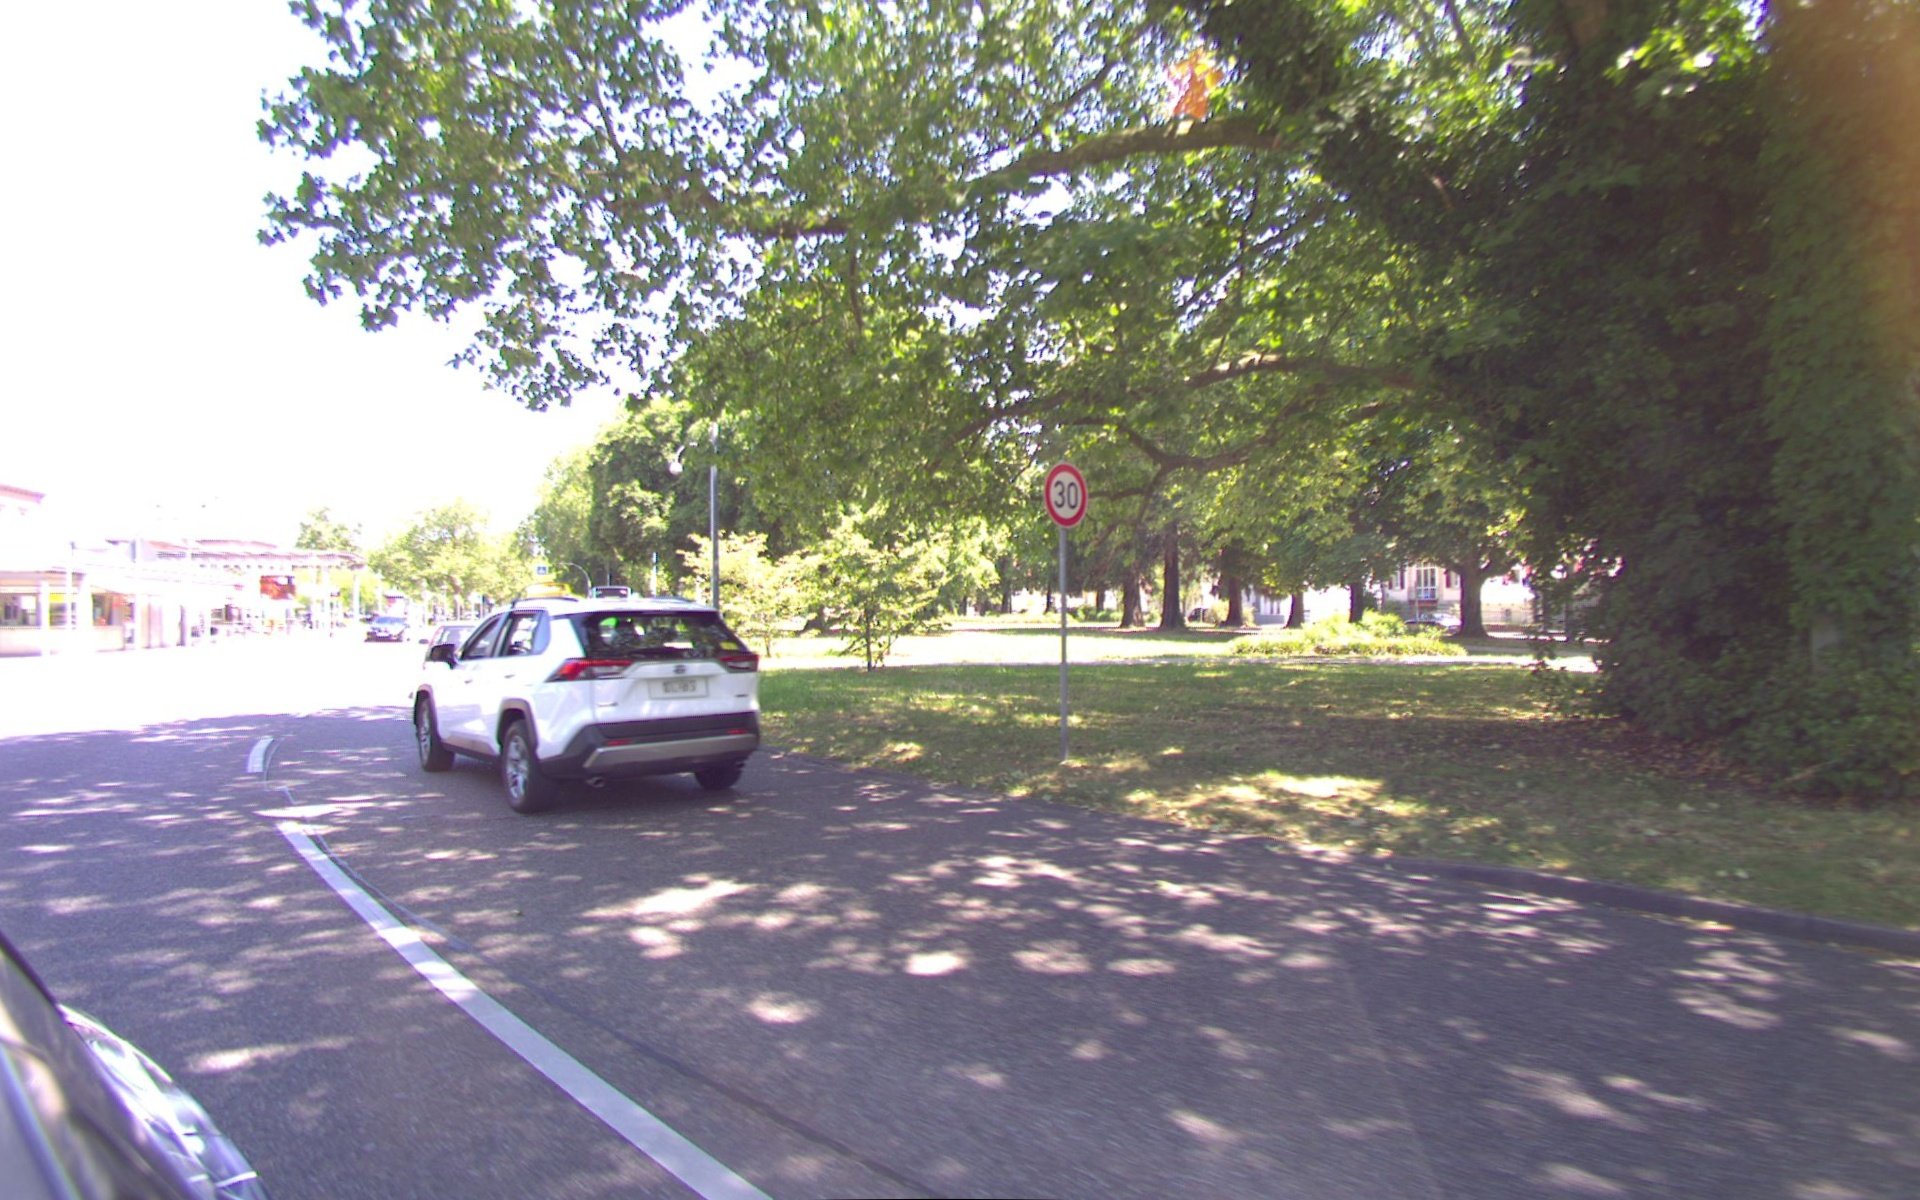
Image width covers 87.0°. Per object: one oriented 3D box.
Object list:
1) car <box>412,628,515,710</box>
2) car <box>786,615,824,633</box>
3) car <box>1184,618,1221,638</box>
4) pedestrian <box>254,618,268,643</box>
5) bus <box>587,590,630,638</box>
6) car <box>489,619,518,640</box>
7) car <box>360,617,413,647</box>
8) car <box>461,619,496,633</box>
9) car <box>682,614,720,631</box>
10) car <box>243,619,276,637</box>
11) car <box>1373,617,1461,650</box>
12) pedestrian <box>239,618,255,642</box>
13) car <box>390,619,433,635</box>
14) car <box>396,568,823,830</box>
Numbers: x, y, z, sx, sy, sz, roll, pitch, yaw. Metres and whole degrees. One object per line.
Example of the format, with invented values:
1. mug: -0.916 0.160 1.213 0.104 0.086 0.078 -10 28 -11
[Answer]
1. car: -9.711 1.273 19.798 1.617 1.428 4.013 1 -2 -27
2. car: -17.609 2.686 114.812 3.931 2.029 2.006 0 -1 -20
3. car: 21.970 2.523 91.725 1.969 1.792 4.006 -1 -1 -7
4. pedestrian: -35.965 1.557 52.086 0.495 1.241 0.515 0 -1 -26
5. bus: -26.922 1.068 77.275 2.767 3.328 11.895 0 -1 -21
6. car: -36.300 2.342 80.616 1.749 1.557 4.196 2 -1 -20
7. car: -31.265 1.738 55.269 1.749 1.557 4.196 2 -1 -20
8. car: -61.951 3.319 130.214 3.931 1.677 2.006 0 -1 -27
9. car: -28.492 2.447 111.397 3.931 1.817 2.006 0 -1 -17
10. car: -76.102 2.988 109.978 1.965 1.894 4.013 0 -1 -20
11. car: 26.202 1.866 58.177 1.965 1.792 4.521 0 -1 -20
12. pedestrian: -36.546 1.553 51.879 0.482 1.220 0.473 -1 -1 -7
13. car: -59.931 2.924 110.614 3.930 1.677 2.007 0 -1 -23
14. car: -3.331 0.752 9.114 2.018 1.761 4.327 3 -3 -43
